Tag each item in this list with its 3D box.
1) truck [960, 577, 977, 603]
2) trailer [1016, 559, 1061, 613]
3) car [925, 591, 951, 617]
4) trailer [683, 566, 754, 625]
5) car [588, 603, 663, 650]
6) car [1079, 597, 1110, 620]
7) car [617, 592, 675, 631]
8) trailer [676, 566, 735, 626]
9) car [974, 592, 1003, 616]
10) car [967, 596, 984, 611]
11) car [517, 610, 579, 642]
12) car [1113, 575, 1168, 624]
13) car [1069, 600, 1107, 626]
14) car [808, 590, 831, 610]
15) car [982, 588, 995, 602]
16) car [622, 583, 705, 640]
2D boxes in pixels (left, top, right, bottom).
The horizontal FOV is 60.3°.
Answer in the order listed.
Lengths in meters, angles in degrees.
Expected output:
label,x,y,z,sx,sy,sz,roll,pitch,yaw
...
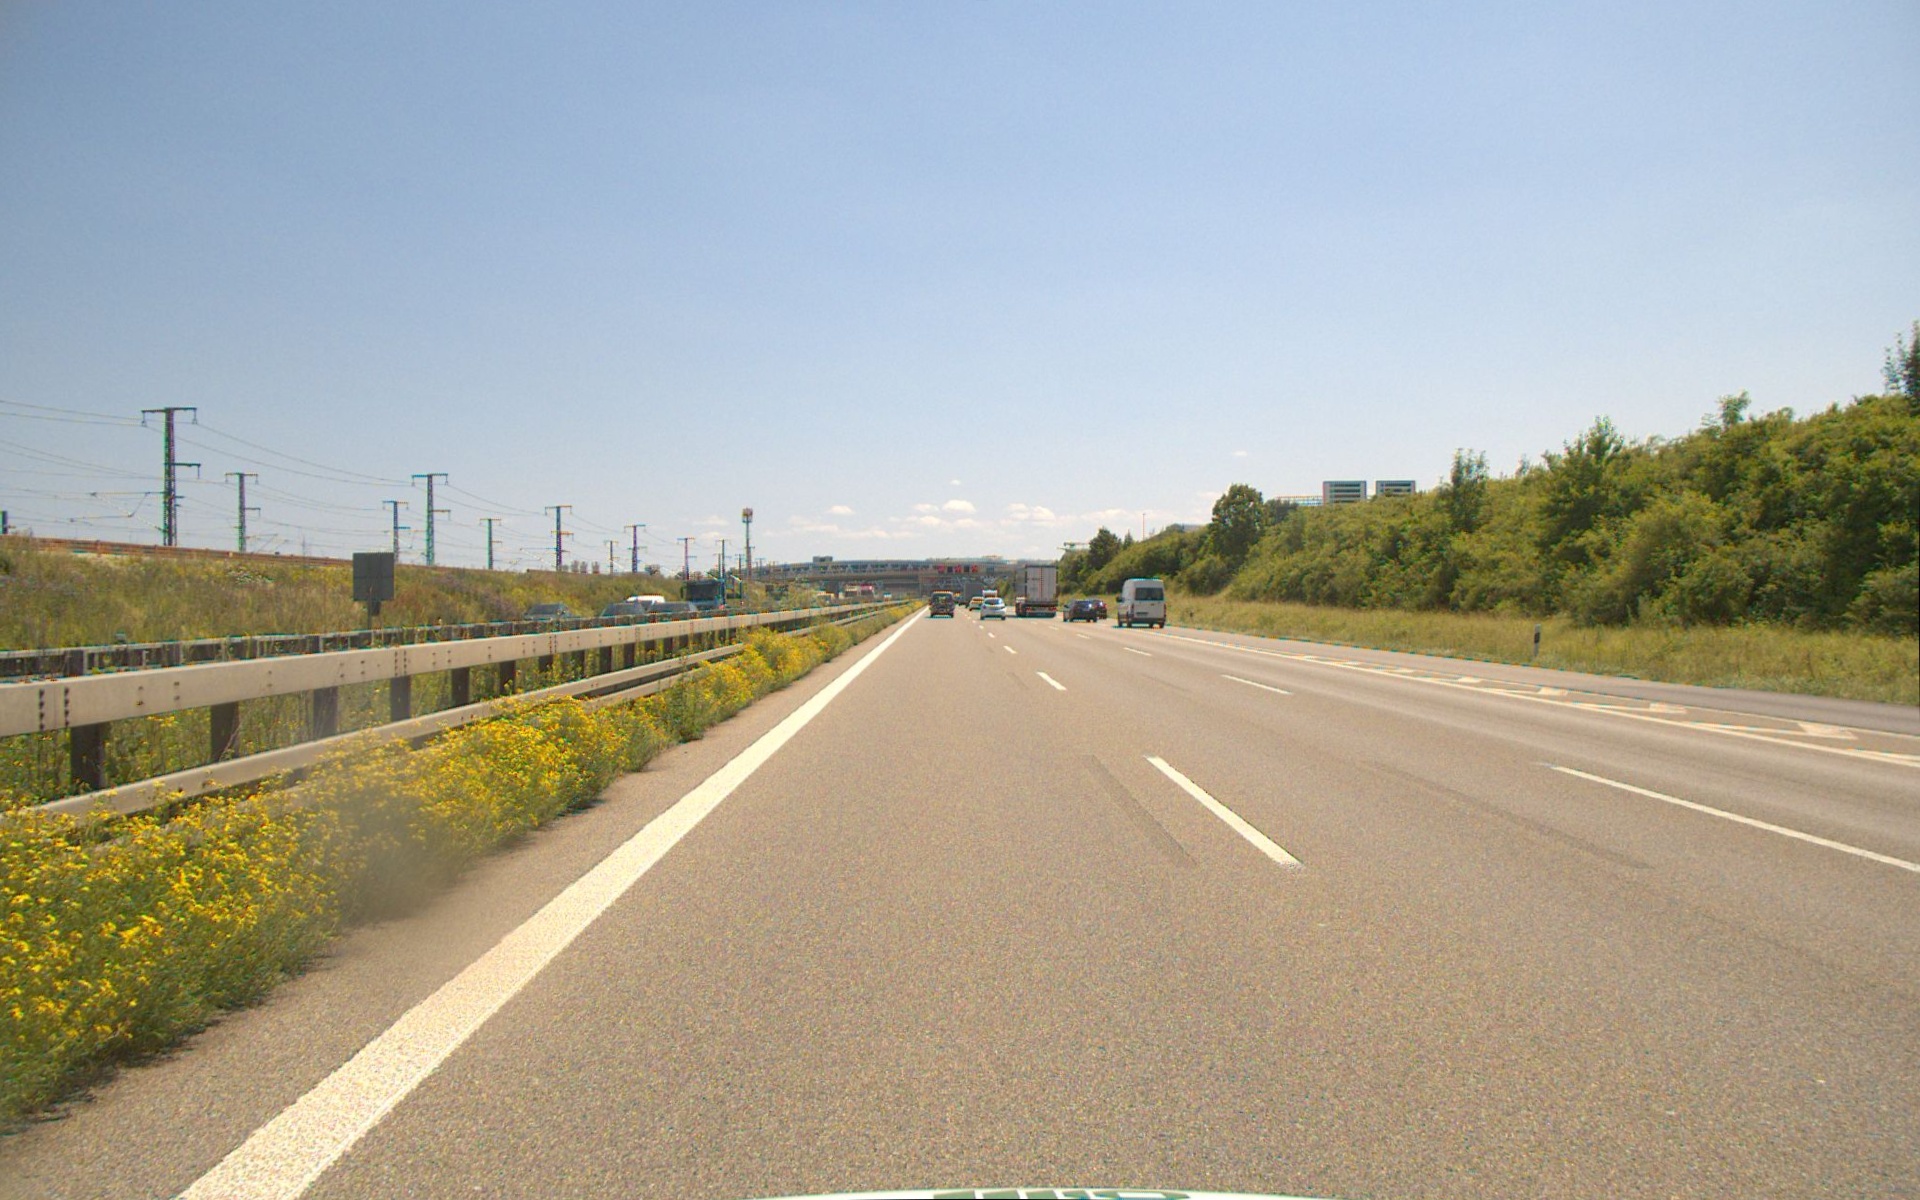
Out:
label,x,y,z,sx,sy,sz,roll,pitch,yaw
truck,1.122,-1.334,223.746,2.307,3.476,6.056,0,0,0
trailer,6.223,-1.113,132.479,3.112,4.130,9.438,-1,0,0
car,-1.627,0.316,121.406,1.842,1.806,3.999,0,-1,-1
trailer,-17.212,-0.304,119.051,2.989,3.935,15.973,0,0,-1
car,-12.732,0.963,63.202,1.881,1.639,5.394,-2,0,-2
car,10.160,0.619,125.135,1.953,1.624,3.999,2,-1,-1
car,-15.429,0.543,81.572,1.881,1.832,5.195,-2,0,-1
trailer,-17.112,-0.286,111.743,2.989,3.935,7.202,0,0,-1
car,1.952,0.303,111.831,1.841,1.553,4.001,1,-1,2
car,1.671,0.429,177.840,1.842,1.553,4.000,1,-1,0
car,-20.173,1.243,81.190,1.881,1.442,4.583,-2,0,-1
car,9.780,-0.014,90.046,2.228,2.572,5.398,0,0,-2
car,8.305,0.865,107.661,1.954,1.534,3.997,2,-1,-3
car,-14.430,-0.016,170.085,1.953,2.049,5.431,0,0,-1
car,4.530,-0.797,262.433,1.952,2.049,4.437,-1,0,1
car,-9.379,0.347,52.607,1.953,1.750,3.999,0,0,-1
